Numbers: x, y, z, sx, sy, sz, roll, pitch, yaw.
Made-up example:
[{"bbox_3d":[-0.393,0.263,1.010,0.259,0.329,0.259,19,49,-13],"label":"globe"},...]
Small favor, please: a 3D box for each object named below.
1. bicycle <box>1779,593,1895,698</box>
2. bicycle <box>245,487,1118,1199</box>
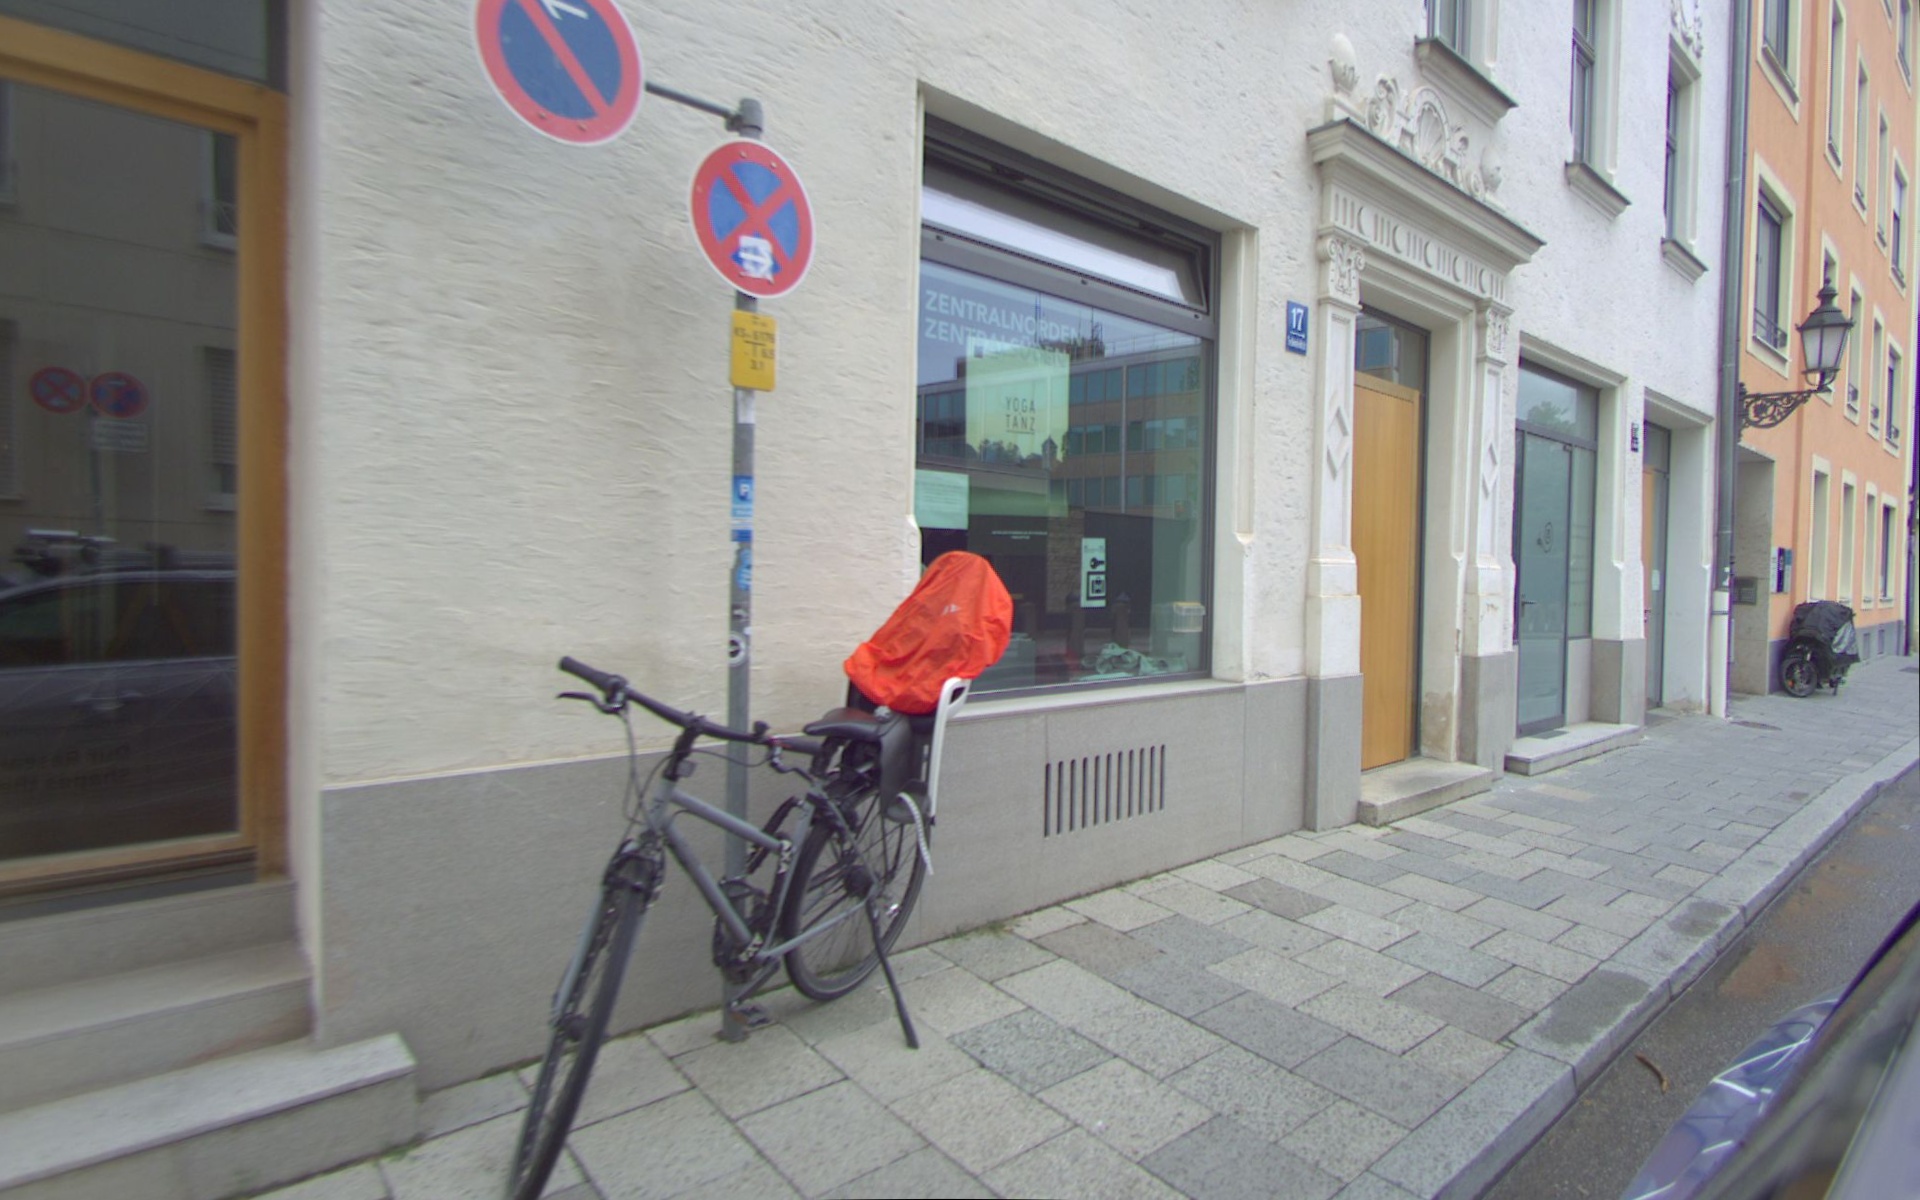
[{"bbox_3d":[11.894,0.574,13.695,2.339,1.254,0.681,1,6,-40],"label":"bicycle"},{"bbox_3d":[-0.592,0.485,2.682,2.083,1.412,0.715,0,4,-39],"label":"bicycle"}]
